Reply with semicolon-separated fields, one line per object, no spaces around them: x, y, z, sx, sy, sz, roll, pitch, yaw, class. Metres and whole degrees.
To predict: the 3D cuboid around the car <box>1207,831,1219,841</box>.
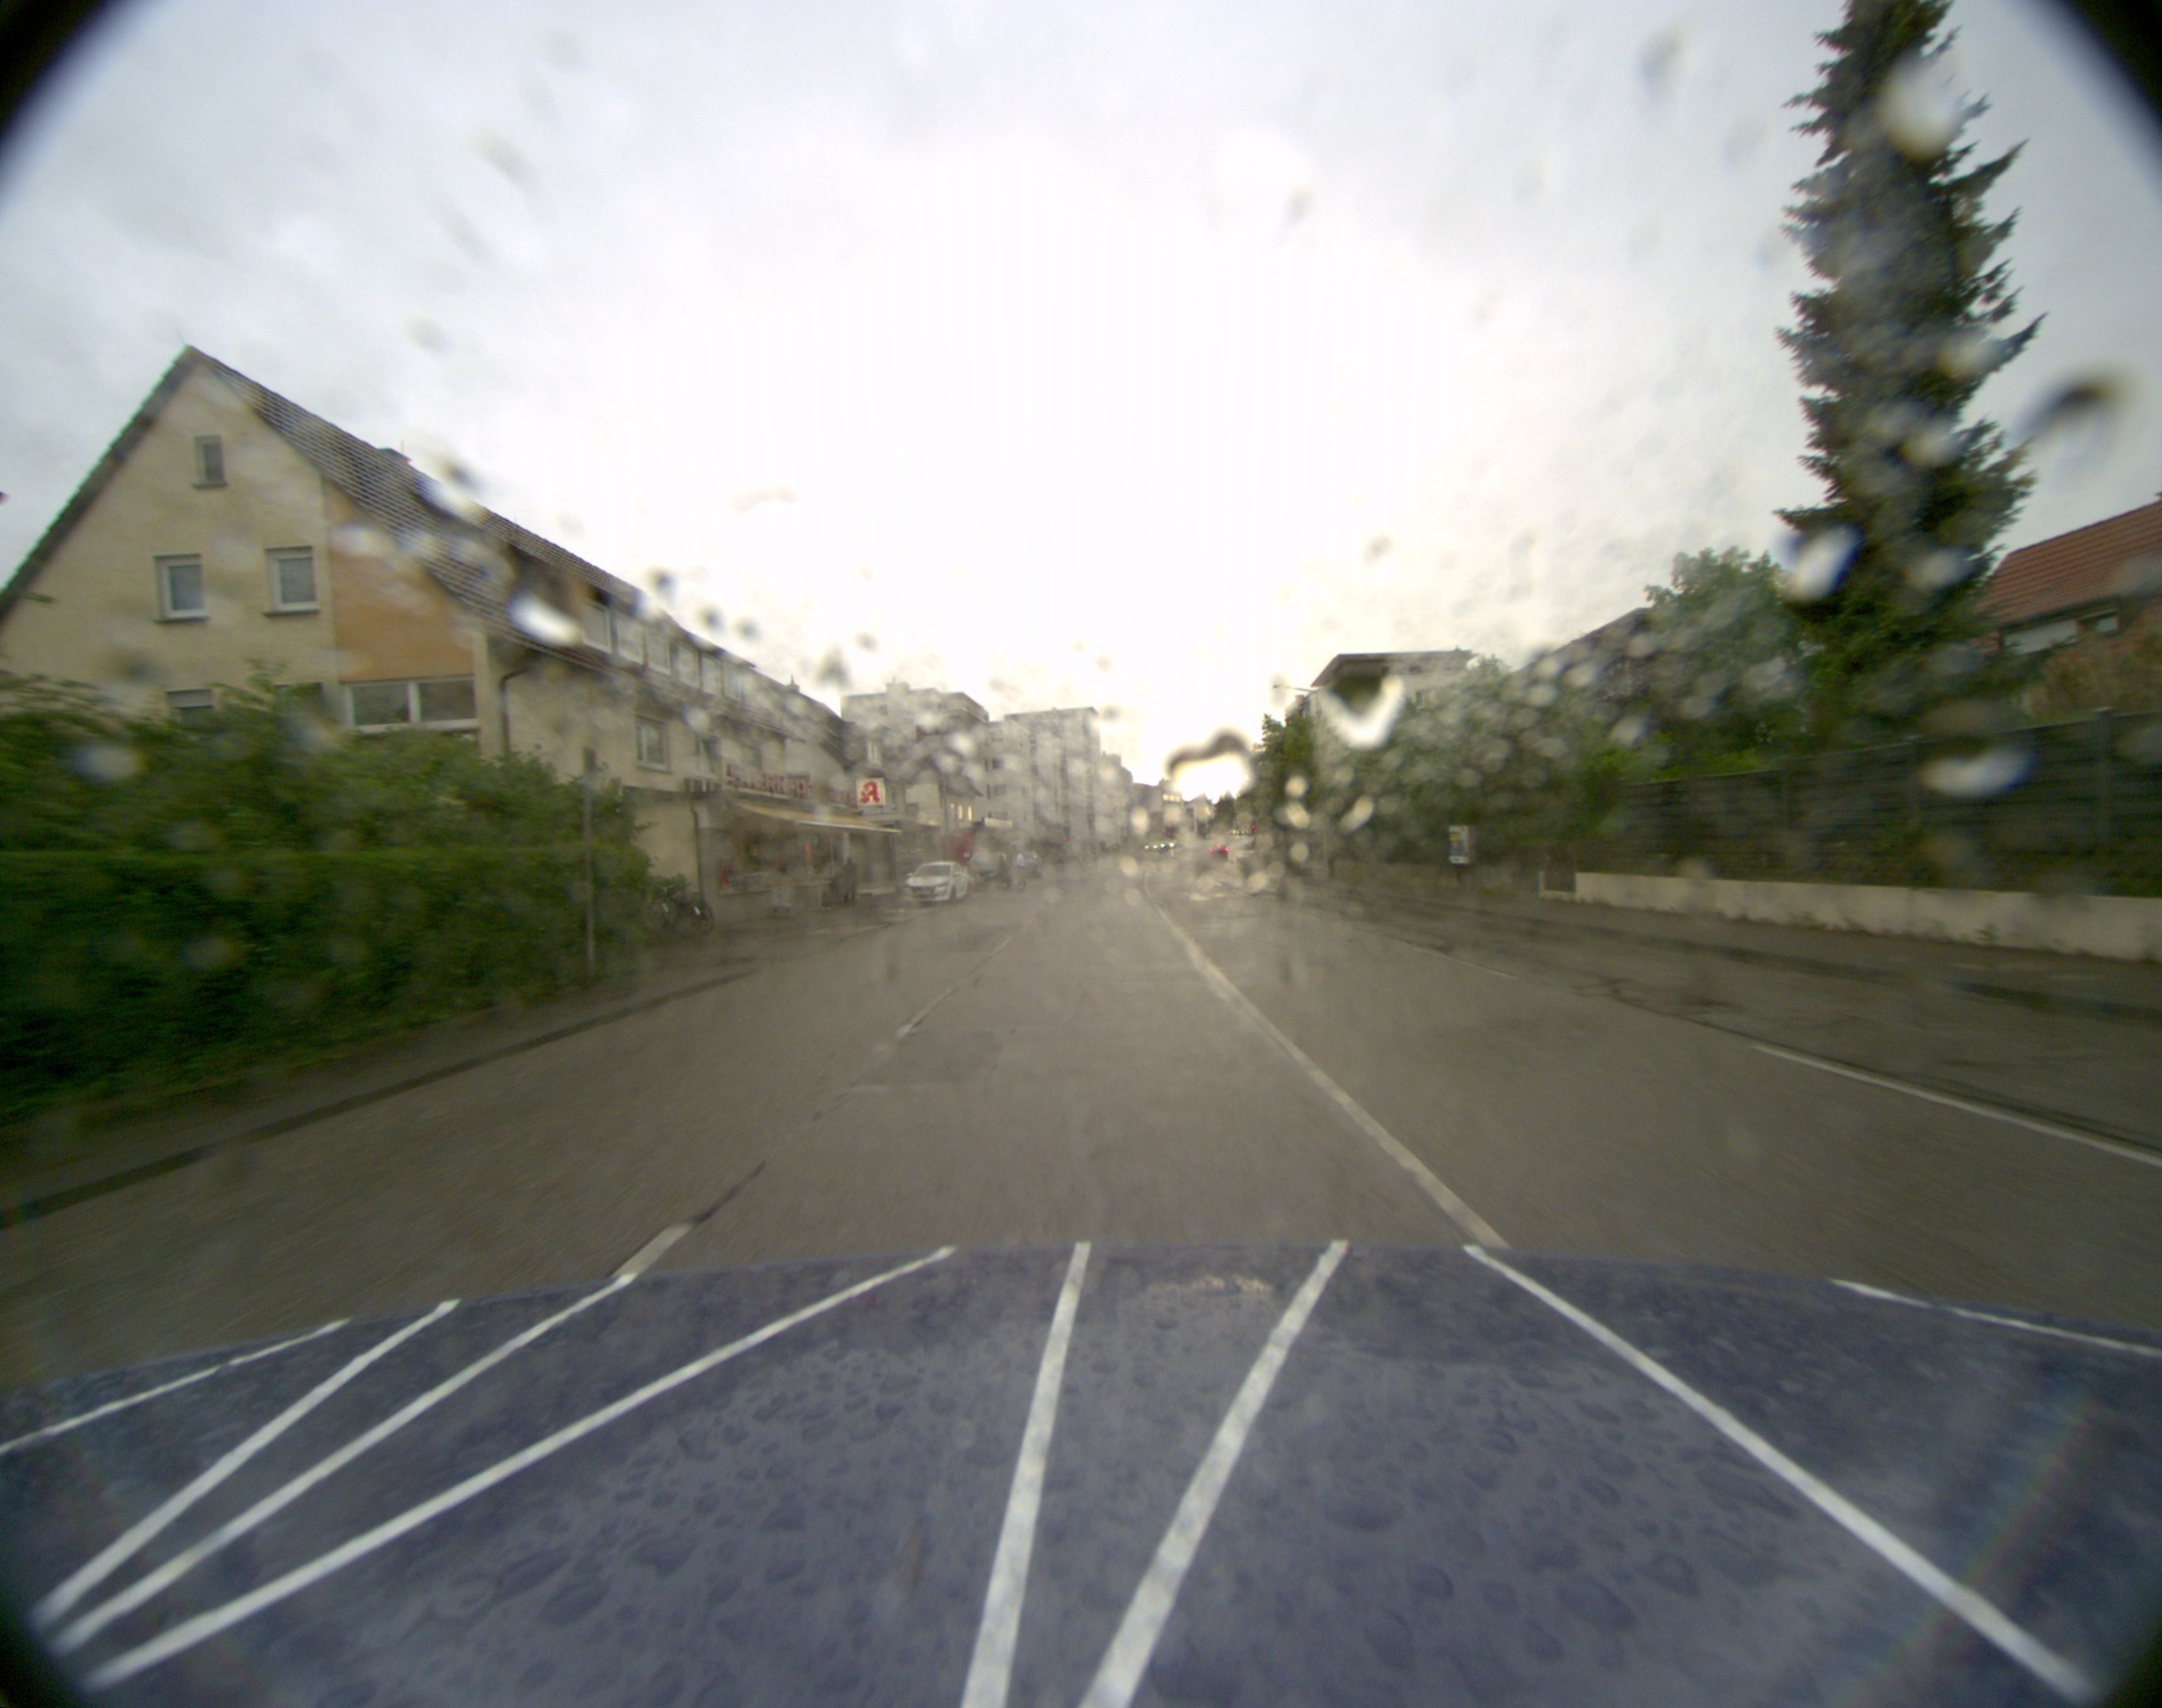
30.739;-4.122;176.829;1.996;2.002;4.004;-7;1;20;car

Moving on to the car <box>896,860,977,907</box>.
-5.113;1.000;27.466;1.819;1.440;4.204;-1;1;4;car

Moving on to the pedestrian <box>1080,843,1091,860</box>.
0.521;-0.290;80.050;0.667;1.693;0.948;-3;2;28;pedestrian

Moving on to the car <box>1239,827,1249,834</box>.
41.688;-6.043;194.321;1.826;1.677;4.004;-2;1;20;car

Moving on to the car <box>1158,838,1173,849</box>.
14.111;-1.767;126.901;1.752;1.470;4.003;-4;1;14;car

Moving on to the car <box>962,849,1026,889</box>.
-4.141;0.666;37.060;2.040;1.686;4.963;-1;2;6;car

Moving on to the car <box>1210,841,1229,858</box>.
13.670;-0.477;74.764;1.778;1.498;4.106;0;2;11;car

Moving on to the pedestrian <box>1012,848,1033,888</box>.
-2.865;0.686;37.154;0.622;1.880;0.648;-2;2;40;pedestrian

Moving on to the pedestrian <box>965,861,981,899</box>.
-4.224;1.013;29.787;0.446;1.491;0.464;-3;1;3;pedestrian

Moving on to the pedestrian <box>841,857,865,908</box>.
-7.593;0.947;25.300;0.552;1.669;0.515;-4;1;-33;pedestrian

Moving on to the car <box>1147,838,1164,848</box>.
11.795;-1.723;119.944;1.739;1.477;4.153;-3;1;18;car

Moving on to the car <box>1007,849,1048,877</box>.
-3.467;0.539;50.199;1.879;1.633;4.793;-1;2;5;car

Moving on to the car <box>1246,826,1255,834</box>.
41.426;-5.894;186.147;1.691;1.546;3.910;-5;2;18;car

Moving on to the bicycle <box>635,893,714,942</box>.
-8.947;1.380;16.720;1.647;0.928;0.623;2;2;23;bicycle

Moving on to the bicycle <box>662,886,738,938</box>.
-8.697;1.303;17.360;1.647;1.042;0.623;2;2;23;bicycle

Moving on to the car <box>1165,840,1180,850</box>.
16.110;-1.530;134.268;1.896;1.536;4.024;-4;1;17;car
